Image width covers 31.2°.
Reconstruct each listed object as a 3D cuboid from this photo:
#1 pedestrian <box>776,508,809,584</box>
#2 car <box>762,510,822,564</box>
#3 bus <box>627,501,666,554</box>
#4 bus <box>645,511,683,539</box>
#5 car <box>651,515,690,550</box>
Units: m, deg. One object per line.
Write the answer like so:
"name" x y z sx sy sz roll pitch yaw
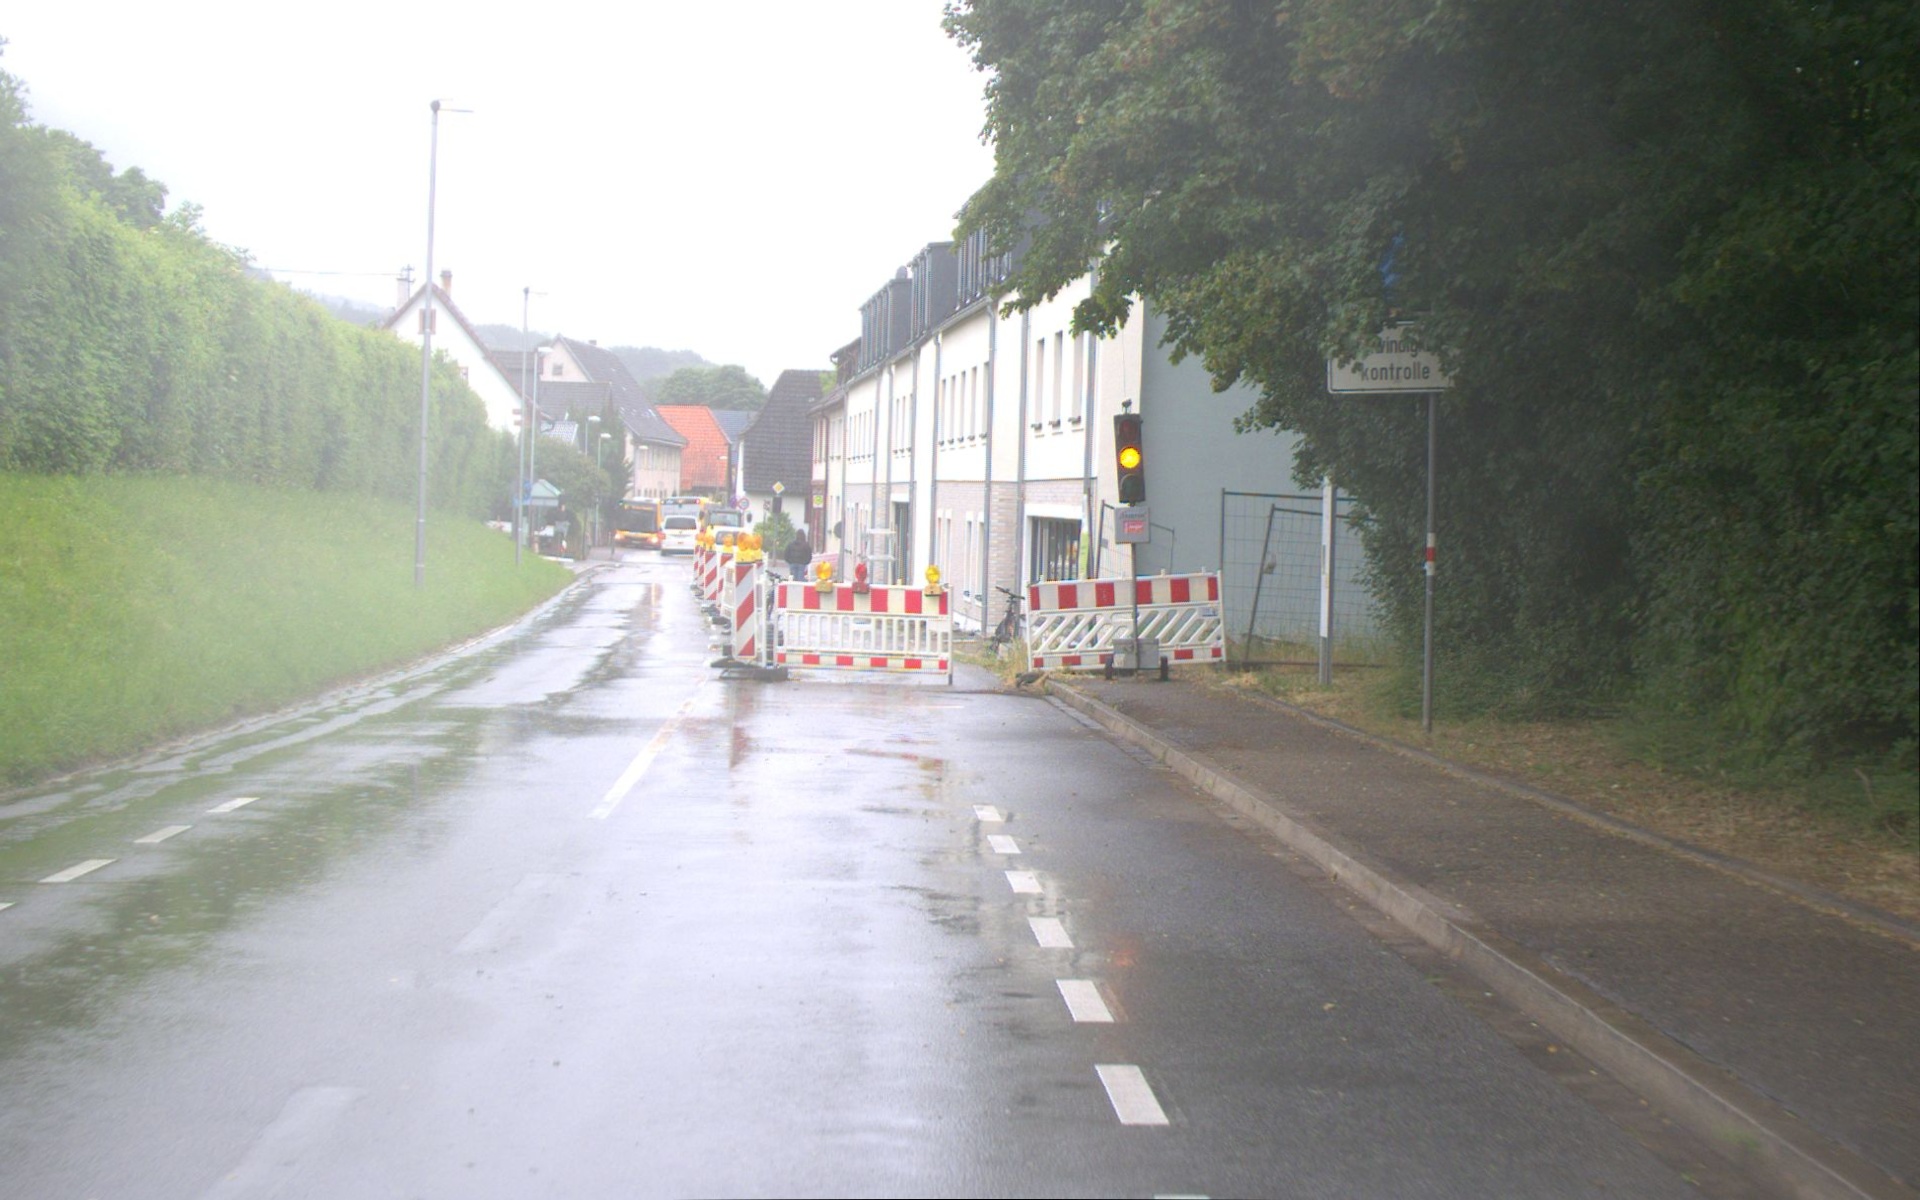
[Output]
"pedestrian" -3.909 -1.272 80.356 0.665 1.749 0.812 2 1 -6
"car" -5.809 -2.186 118.617 1.904 1.766 3.888 -1 1 -4
"bus" -18.524 -4.266 203.200 2.241 3.092 7.032 -1 1 -5
"bus" -15.946 -4.034 185.311 1.794 1.405 4.001 3 1 -3
"car" -13.901 -3.250 165.256 1.818 1.636 4.096 -1 1 -5
